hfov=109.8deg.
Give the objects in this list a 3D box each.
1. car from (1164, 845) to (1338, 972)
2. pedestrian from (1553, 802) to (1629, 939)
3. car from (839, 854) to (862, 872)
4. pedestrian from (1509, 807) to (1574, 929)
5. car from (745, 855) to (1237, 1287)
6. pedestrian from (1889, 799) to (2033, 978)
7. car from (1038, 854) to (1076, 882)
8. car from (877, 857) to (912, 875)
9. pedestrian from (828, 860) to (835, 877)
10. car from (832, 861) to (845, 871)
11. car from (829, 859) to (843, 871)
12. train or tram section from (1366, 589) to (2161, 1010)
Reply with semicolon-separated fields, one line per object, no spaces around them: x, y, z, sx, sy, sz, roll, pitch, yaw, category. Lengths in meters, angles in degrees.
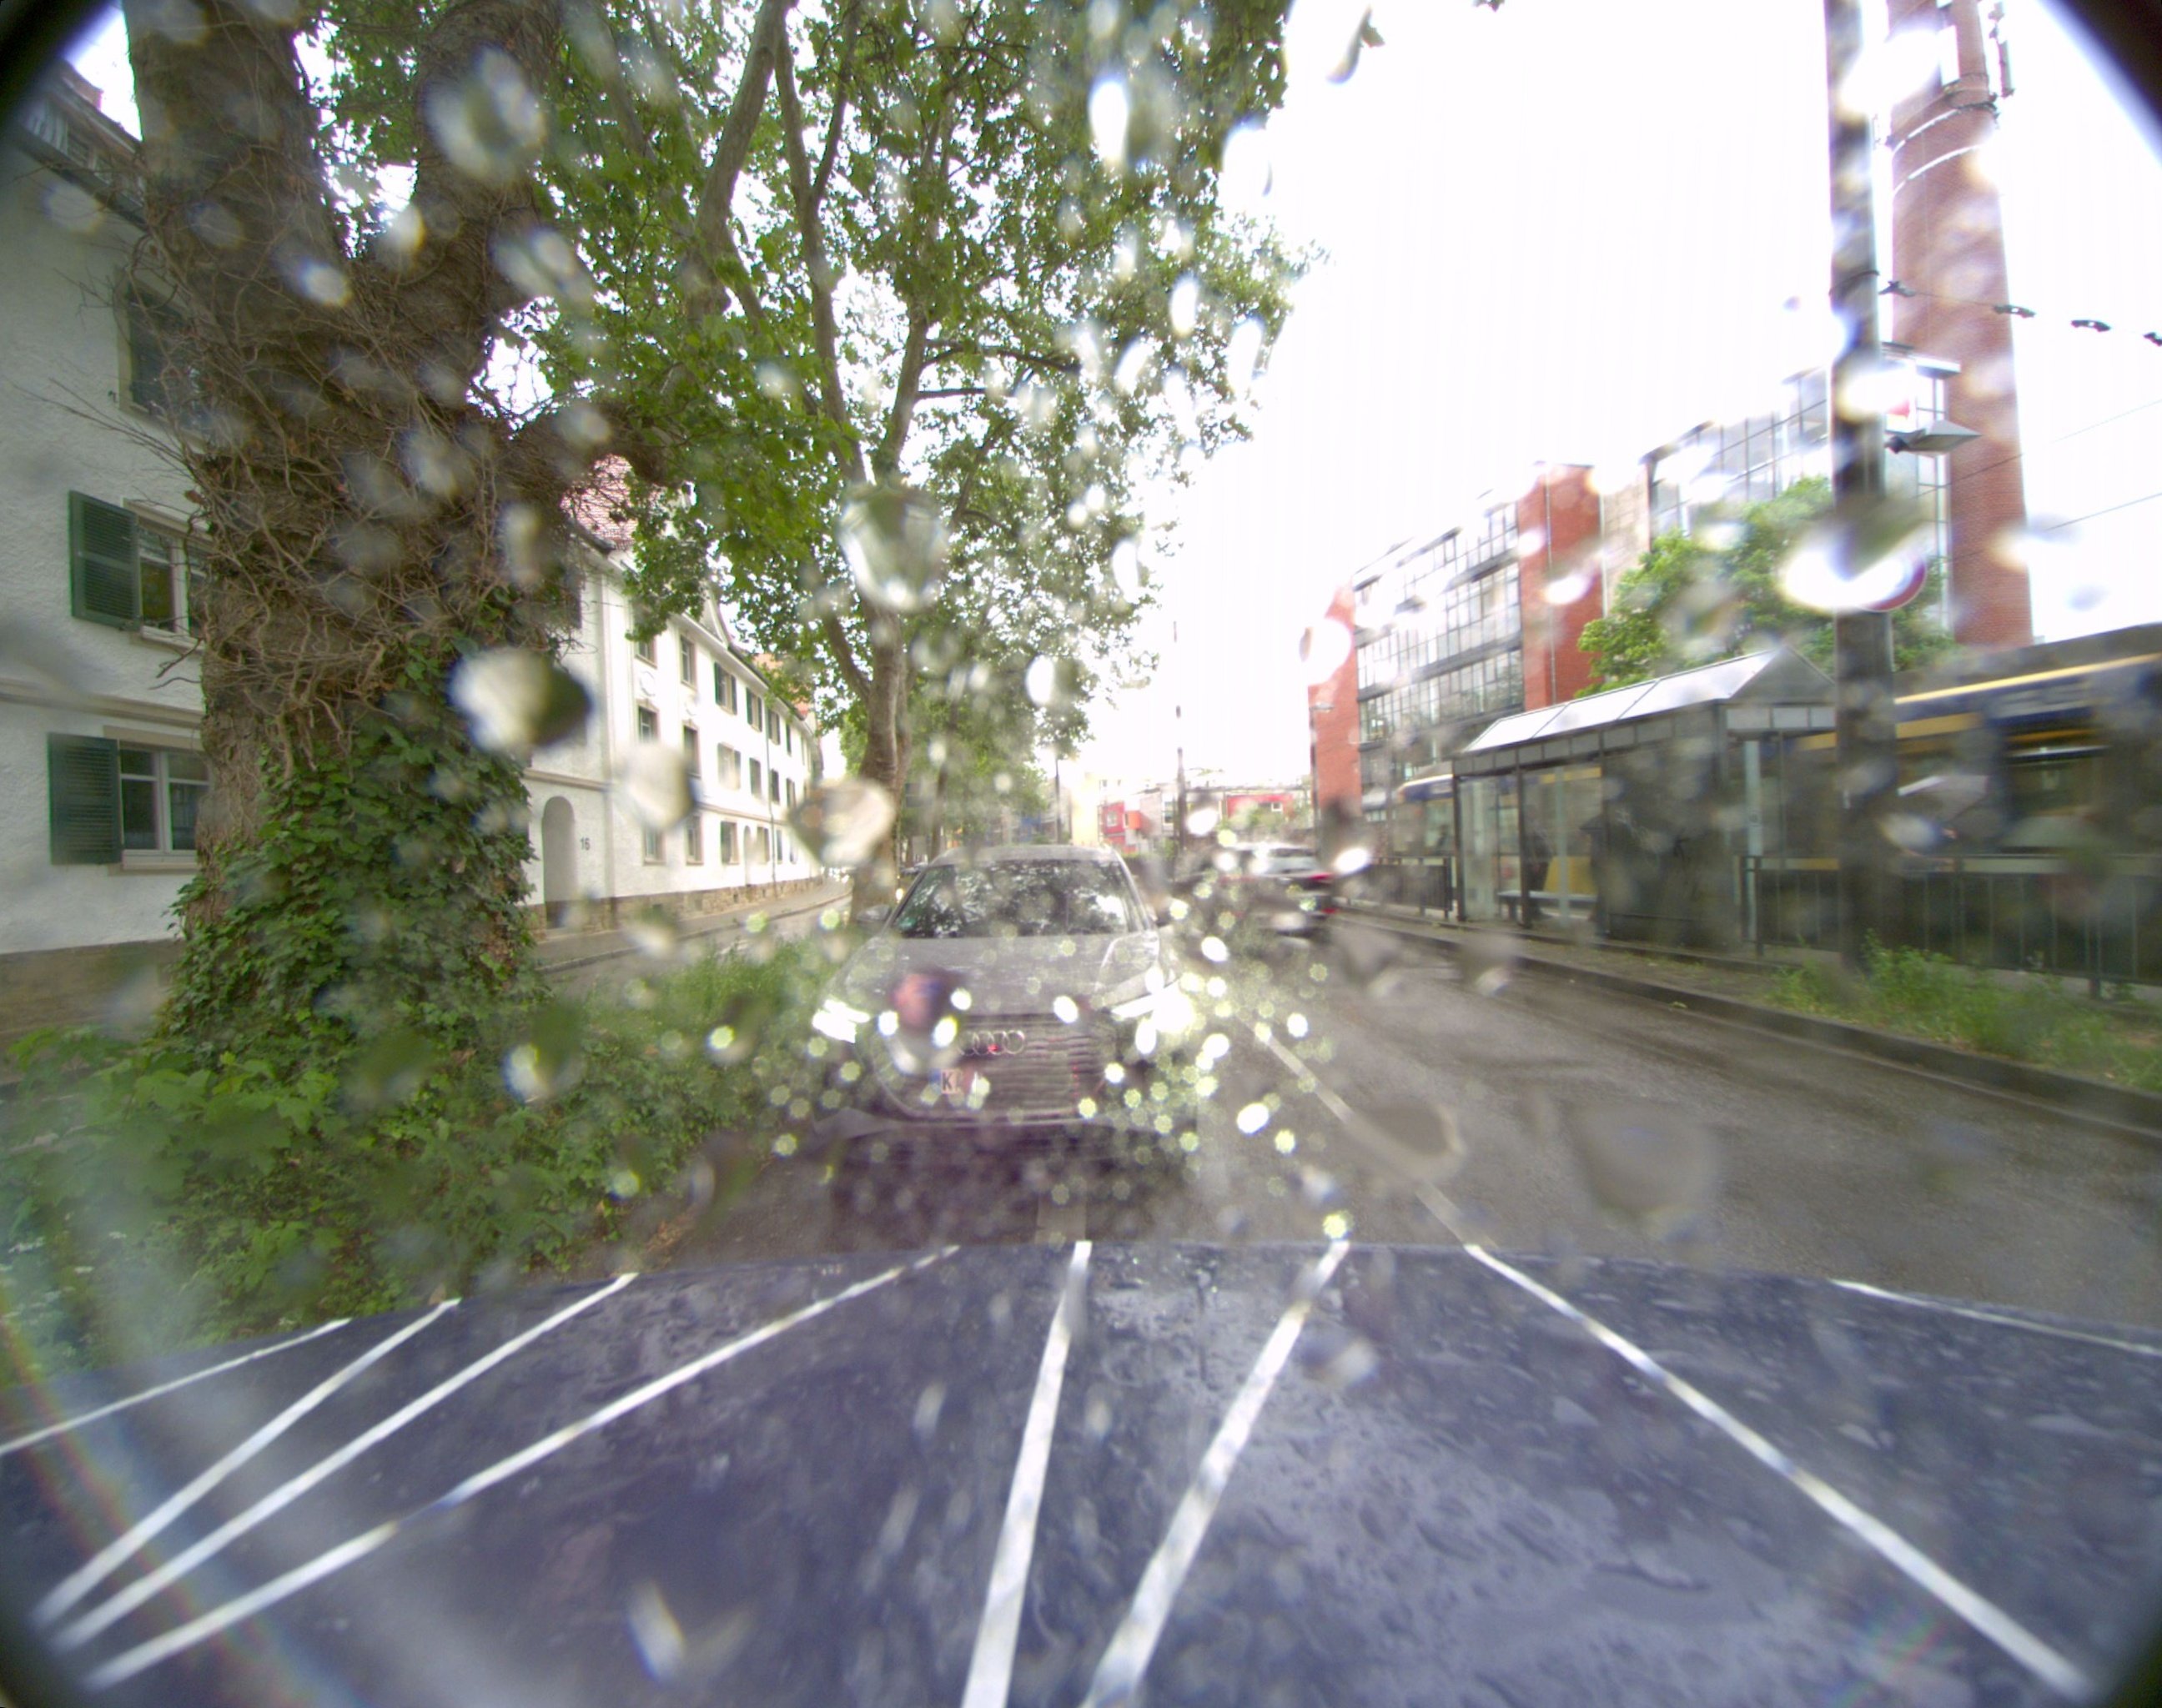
2.579;0.746;12.680;1.808;1.673;4.603;-2;0;0;car
6.730;0.217;10.046;0.629;1.738;0.564;-2;1;9;pedestrian
-31.464;1.266;103.682;2.199;2.250;5.401;-3;0;-24;car
6.747;0.200;11.155;0.629;1.738;0.514;-2;1;9;pedestrian
-0.416;0.872;5.121;1.917;1.632;4.106;-2;0;-2;car
8.168;0.314;7.071;0.798;1.588;0.506;0;-2;-10;pedestrian
-1.523;0.829;46.345;1.757;1.582;4.231;-3;0;-9;car
-23.206;1.497;94.629;4.002;2.002;1.997;-2;0;-17;car
-27.442;1.607;83.543;0.674;1.811;0.678;-3;1;-18;pedestrian
-39.261;1.937;123.164;1.834;1.517;3.993;-3;1;-19;car
-44.247;2.029;137.161;2.002;2.001;3.993;3;-1;-20;car
9.728;-0.502;11.605;2.869;3.525;15.361;-2;0;-8;train or tram section
